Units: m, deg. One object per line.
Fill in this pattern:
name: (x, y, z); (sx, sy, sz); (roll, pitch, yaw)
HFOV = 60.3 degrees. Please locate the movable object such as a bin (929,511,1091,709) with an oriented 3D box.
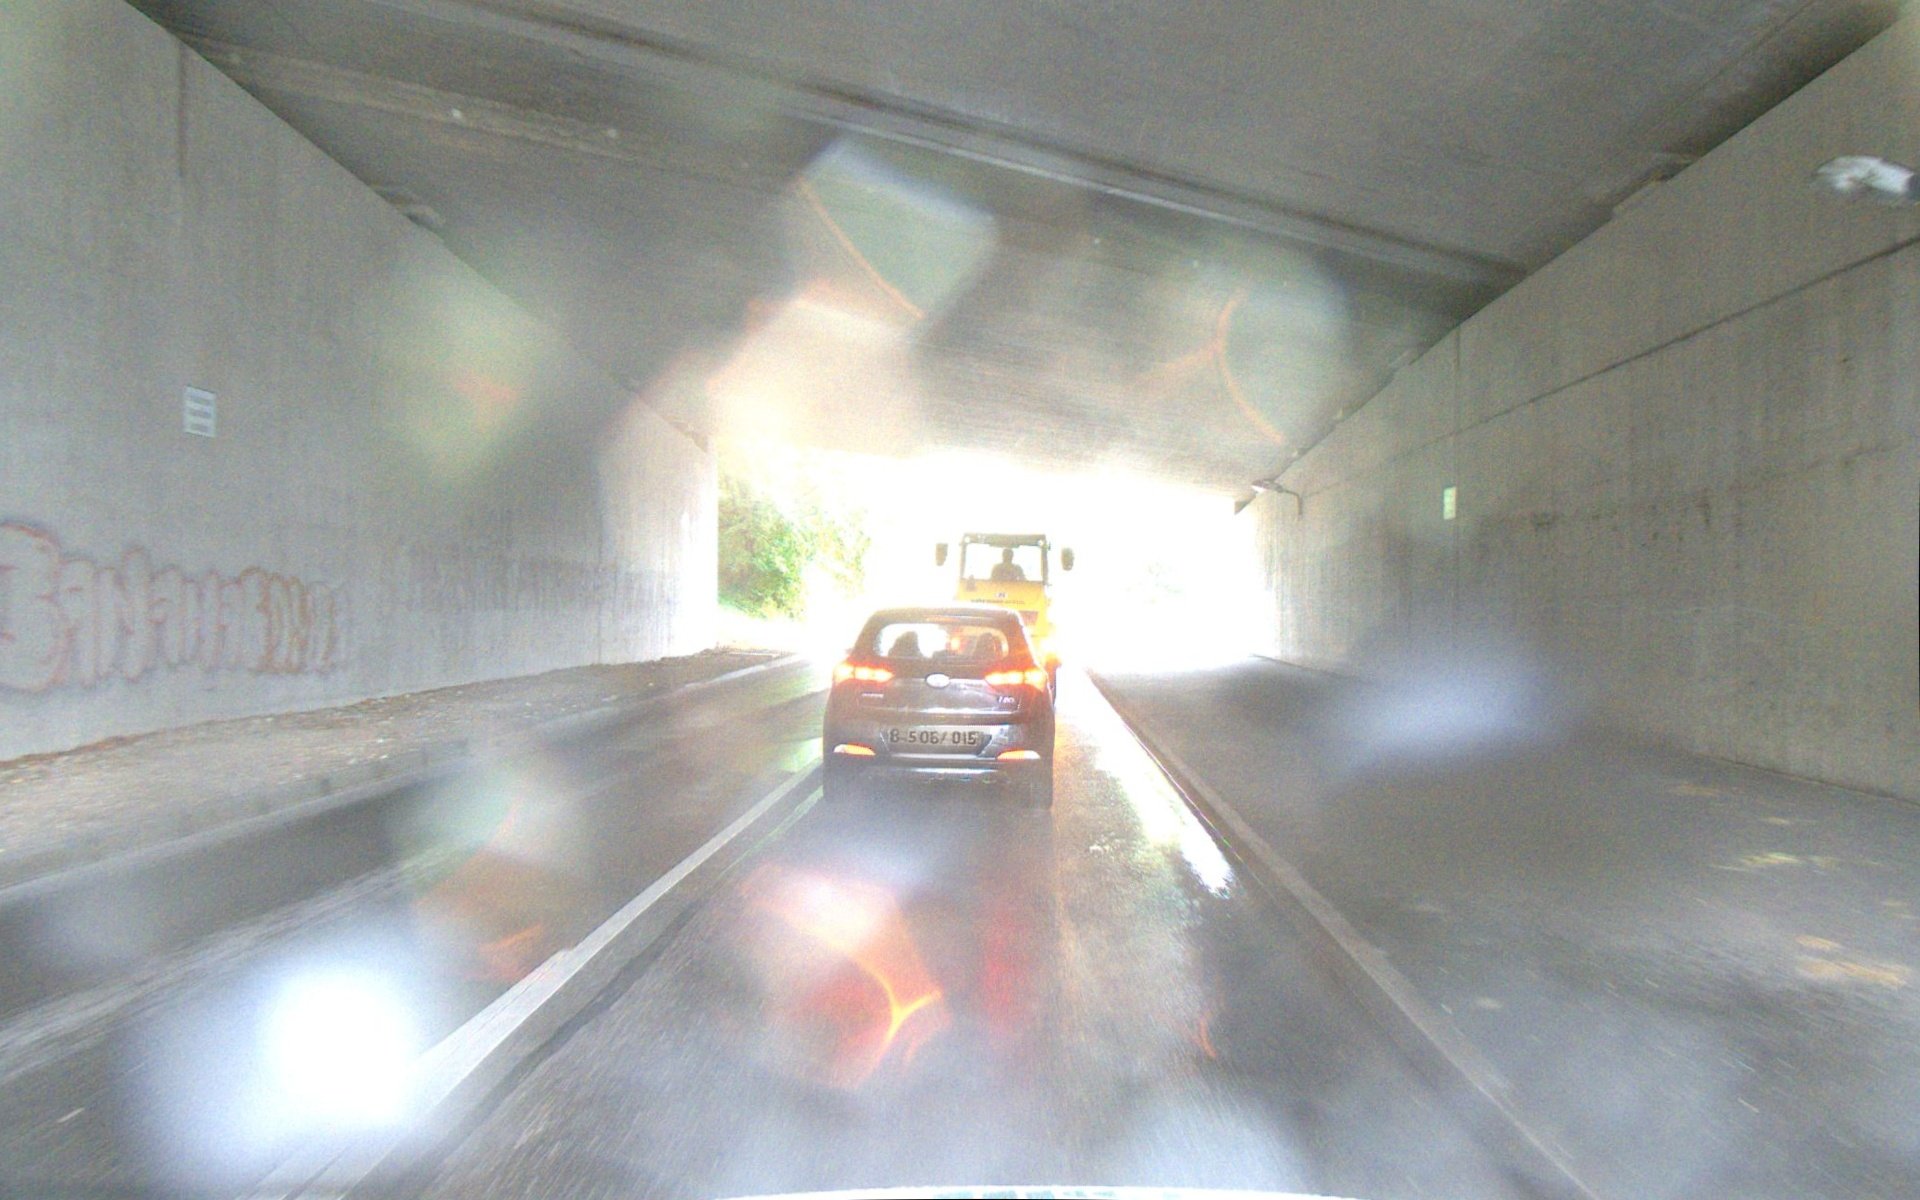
movable object such as a bin: (0.775, 0.139, 26.717); (2.199, 2.716, 6.627); (2, 0, 1)

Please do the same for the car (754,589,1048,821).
car: (-0.437, 0.718, 13.313); (1.953, 1.513, 3.999); (2, 0, -1)

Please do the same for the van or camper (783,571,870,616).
van or camper: (-6.877, -0.348, 84.988); (1.983, 2.135, 4.619); (2, 0, -42)
